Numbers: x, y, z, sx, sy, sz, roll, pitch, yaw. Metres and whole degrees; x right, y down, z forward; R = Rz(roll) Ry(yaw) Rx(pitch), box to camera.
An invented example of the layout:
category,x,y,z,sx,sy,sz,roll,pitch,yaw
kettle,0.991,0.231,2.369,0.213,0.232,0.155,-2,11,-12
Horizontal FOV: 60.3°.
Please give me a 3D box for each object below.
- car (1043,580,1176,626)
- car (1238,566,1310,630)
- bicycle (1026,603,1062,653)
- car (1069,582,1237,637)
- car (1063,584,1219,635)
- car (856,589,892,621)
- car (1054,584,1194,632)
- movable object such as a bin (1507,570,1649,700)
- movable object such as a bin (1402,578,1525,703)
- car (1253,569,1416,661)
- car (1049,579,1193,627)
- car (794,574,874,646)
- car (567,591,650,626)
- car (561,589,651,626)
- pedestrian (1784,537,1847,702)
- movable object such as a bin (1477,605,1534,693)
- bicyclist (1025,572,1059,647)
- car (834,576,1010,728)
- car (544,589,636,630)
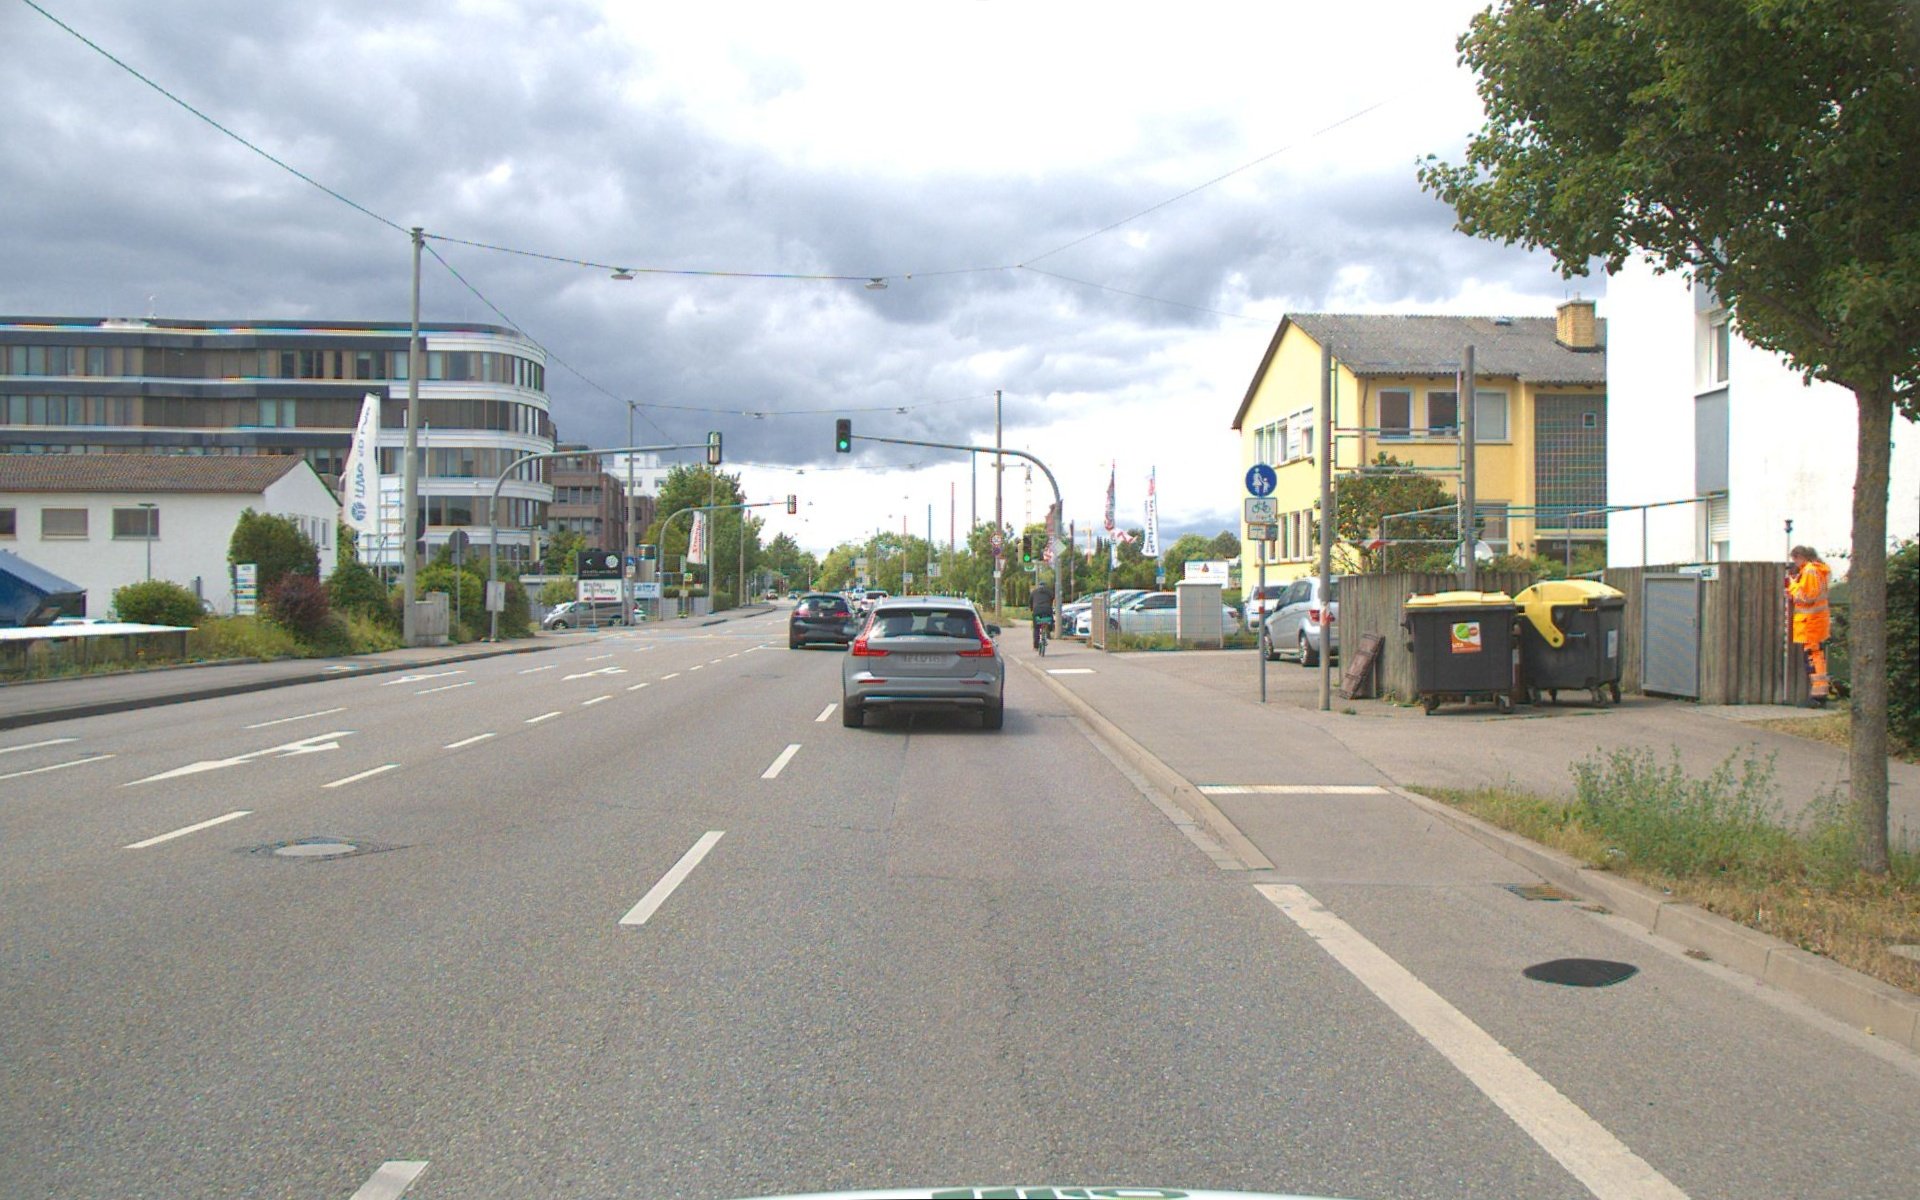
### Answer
category,x,y,z,sx,sy,sz,roll,pitch,yaw
car,5.334,0.101,59.503,4.581,1.519,2.015,1,0,-1
car,9.628,-0.035,51.073,1.934,1.853,5.034,-1,-1,8
bicycle,1.950,0.637,38.712,0.625,1.081,1.977,-4,0,-1
car,5.580,0.249,48.226,4.602,1.519,2.045,1,1,-3
car,5.558,0.273,51.103,4.565,1.519,2.034,0,0,-2
car,-4.816,0.282,93.131,1.953,1.724,3.998,2,0,-2
car,5.326,0.246,53.972,4.282,1.428,1.987,1,1,-4
movable object such as a bin,7.305,0.406,19.536,1.296,1.460,1.247,-1,-1,35
movable object such as a bin,5.805,0.463,19.170,1.291,1.385,1.252,-1,-1,14
car,6.917,0.236,31.052,1.838,1.572,4.519,-1,1,-3
car,5.486,0.095,56.820,4.702,1.506,2.032,2,0,-1
car,-3.304,0.265,43.543,1.954,1.747,3.997,2,0,-4
car,-18.253,0.444,86.038,3.910,1.393,1.847,-6,0,-4
car,-17.825,0.378,83.509,4.146,1.410,1.981,-6,0,-8
pedestrian,9.479,0.212,18.336,0.496,1.796,0.501,1,-1,15
movable object such as a bin,6.607,0.588,20.043,0.557,1.044,0.404,-1,-1,35
bicyclist,1.914,0.210,38.745,0.625,1.704,0.890,-4,0,-1
car,-0.407,0.575,19.786,1.857,1.581,4.000,2,0,0
car,-17.486,0.436,78.398,4.019,1.421,1.904,-6,2,-9
